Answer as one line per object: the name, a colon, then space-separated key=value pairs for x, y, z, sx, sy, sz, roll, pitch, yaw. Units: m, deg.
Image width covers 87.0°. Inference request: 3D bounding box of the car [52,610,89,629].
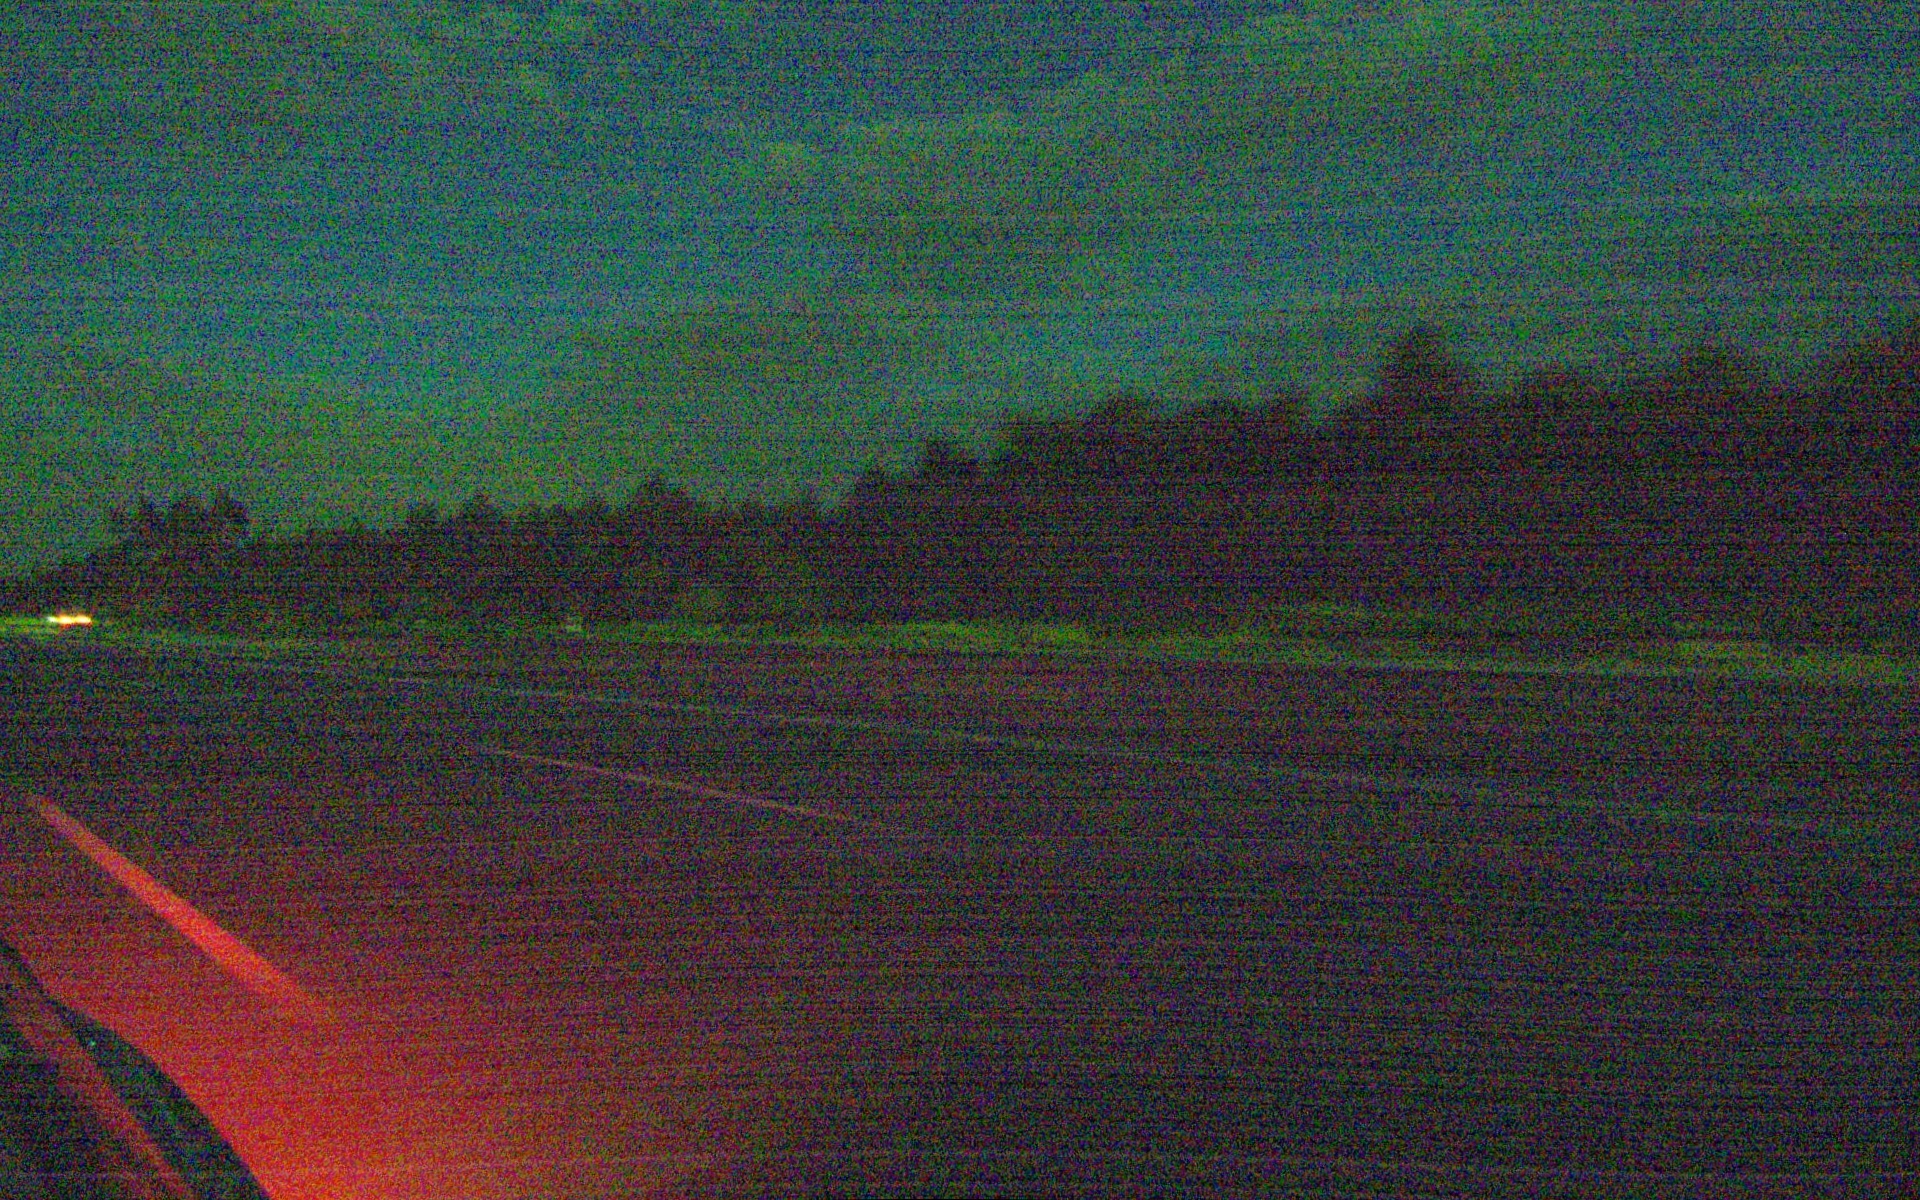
car: x=-95.939 y=2.101 z=109.135 sx=5.177 sy=2.029 sz=2.008 roll=0 pitch=0 yaw=36
